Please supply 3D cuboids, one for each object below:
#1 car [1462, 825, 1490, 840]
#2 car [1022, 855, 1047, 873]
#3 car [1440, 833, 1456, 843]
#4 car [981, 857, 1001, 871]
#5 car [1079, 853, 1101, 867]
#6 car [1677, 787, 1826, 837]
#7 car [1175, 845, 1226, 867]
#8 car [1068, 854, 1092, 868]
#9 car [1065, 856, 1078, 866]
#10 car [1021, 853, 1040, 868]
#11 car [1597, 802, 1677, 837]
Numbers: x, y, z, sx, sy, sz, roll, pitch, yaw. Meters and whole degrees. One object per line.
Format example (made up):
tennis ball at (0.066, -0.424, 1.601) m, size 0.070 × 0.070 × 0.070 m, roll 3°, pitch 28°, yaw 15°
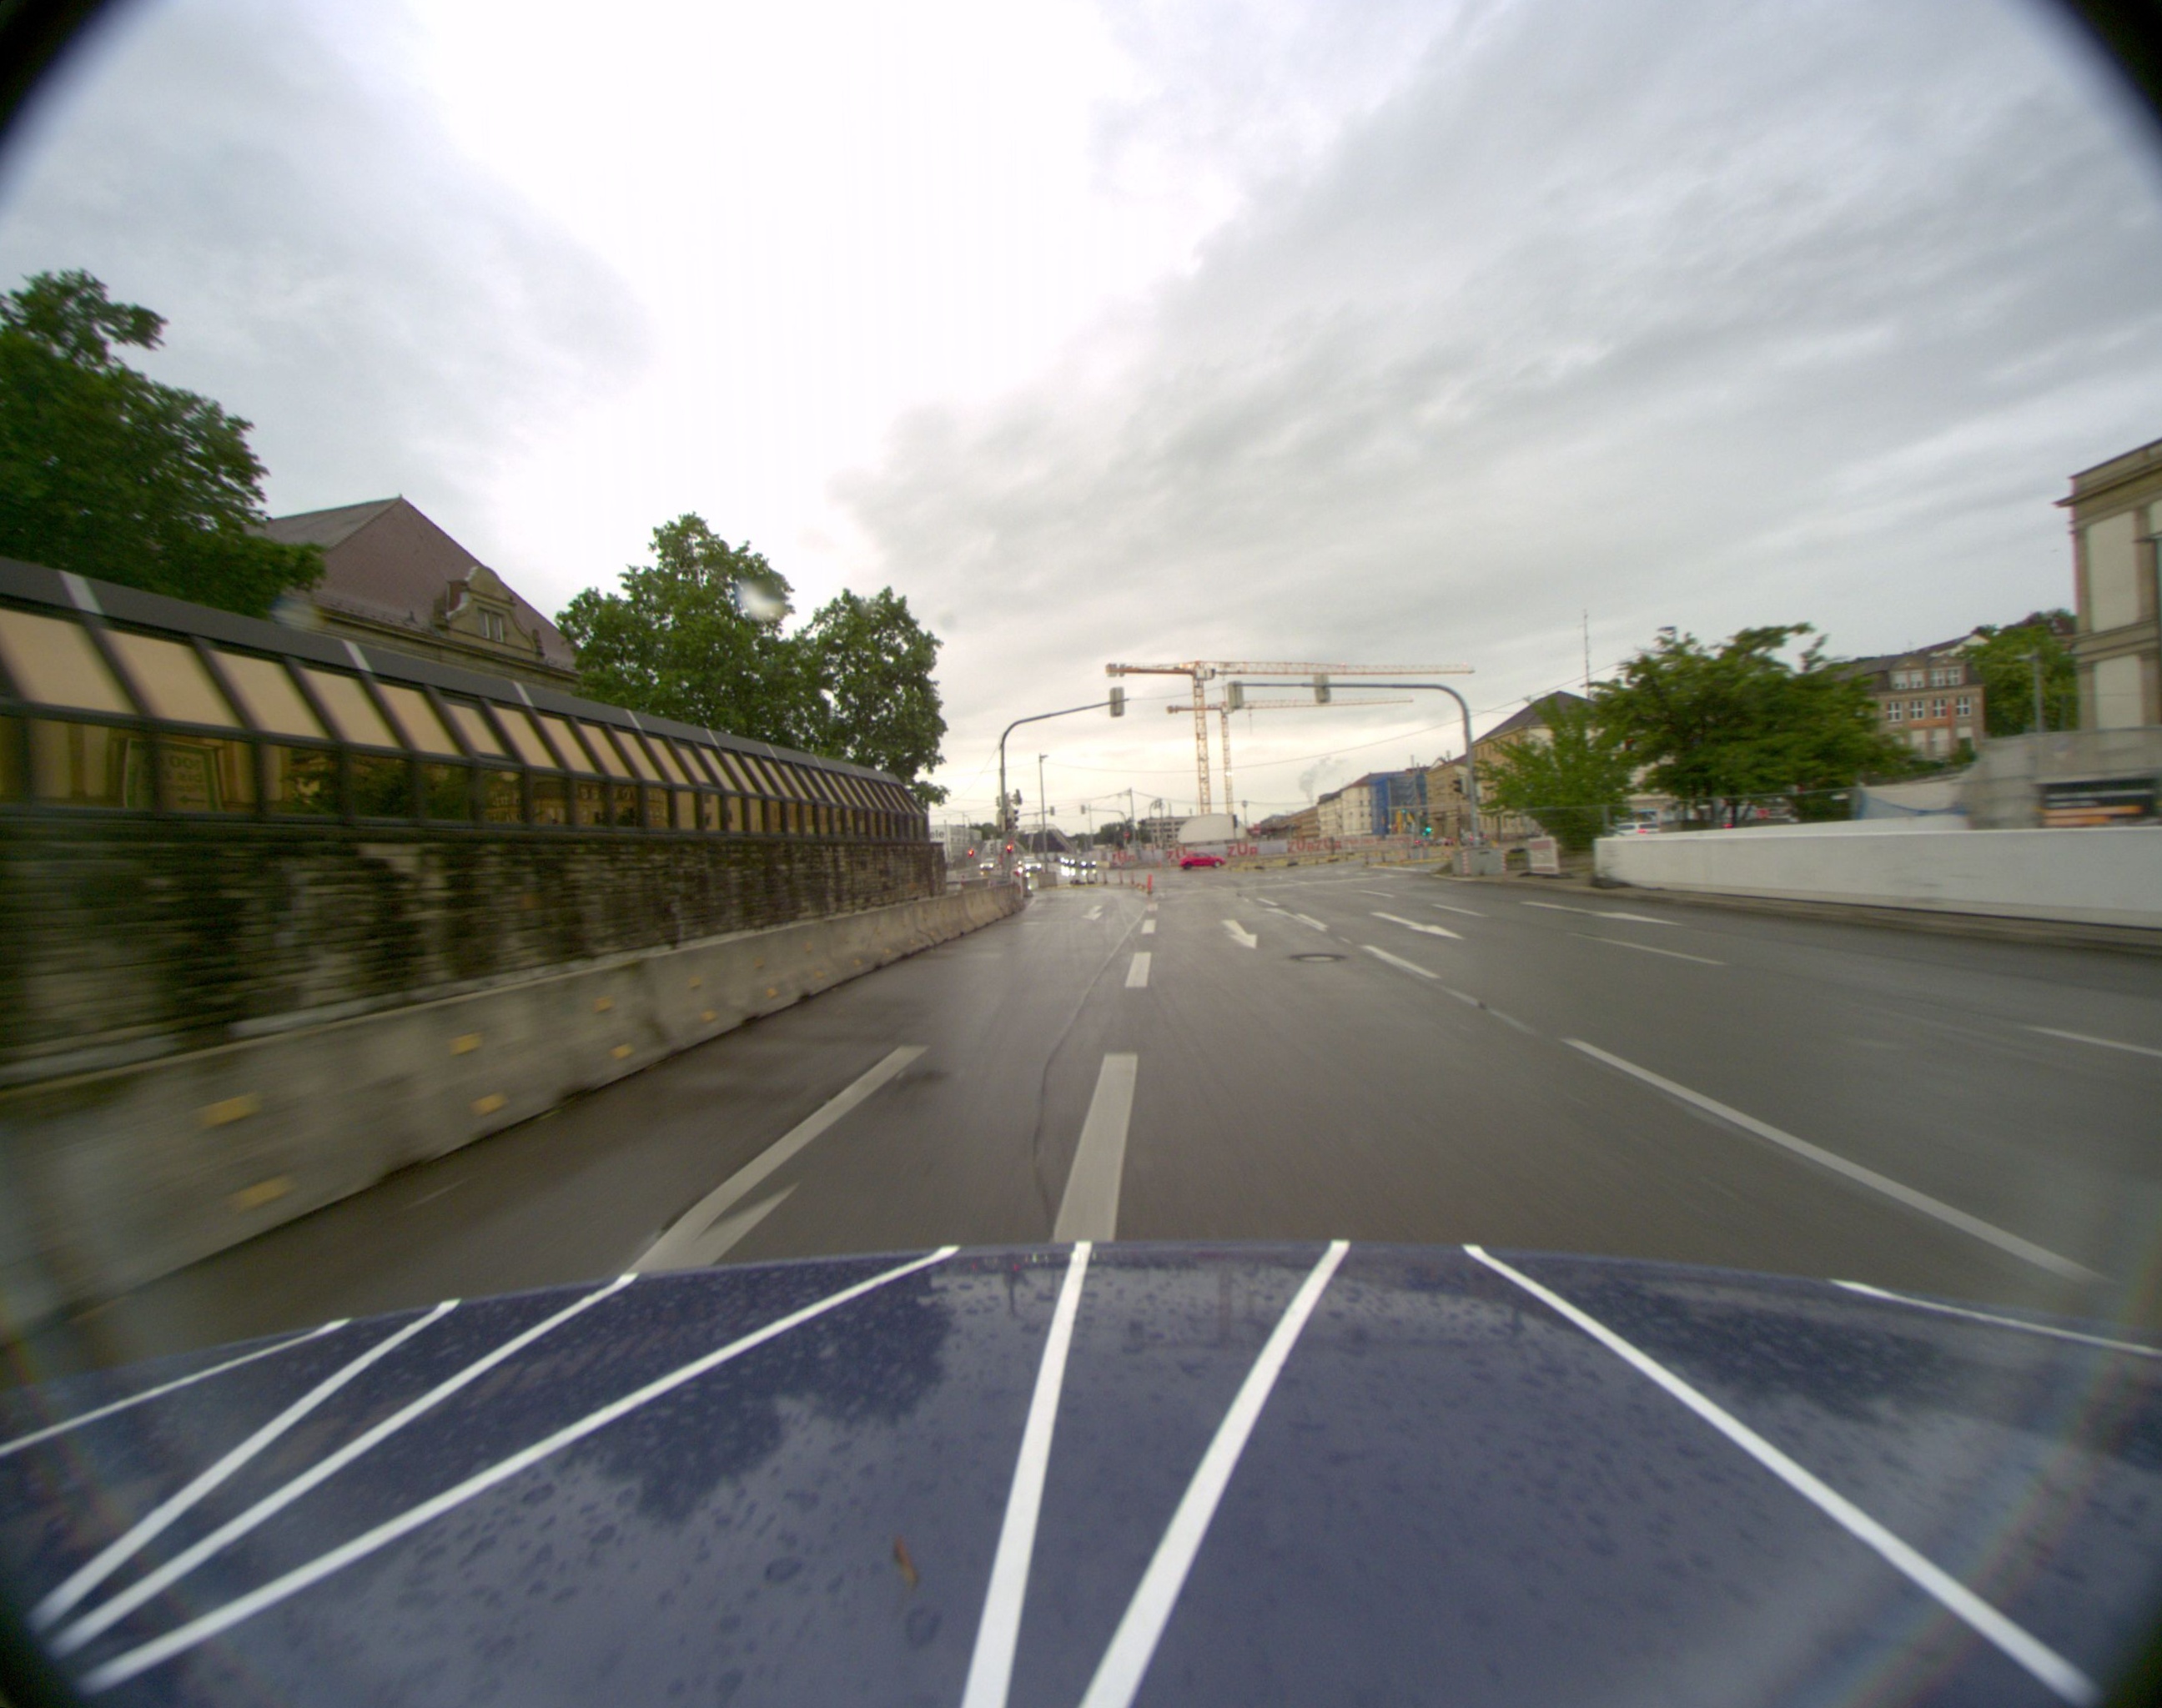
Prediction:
car at (52.744, -2.863, 101.461) m, size 1.997 × 1.828 × 4.686 m, roll -4°, pitch 1°, yaw 12°
car at (-5.736, 1.262, 93.473) m, size 2.001 × 2.002 × 4.418 m, roll -5°, pitch 0°, yaw -15°
car at (58.935, -2.517, 122.115) m, size 1.580 × 1.340 × 3.809 m, roll -5°, pitch 2°, yaw 17°
car at (-12.284, 1.338, 104.105) m, size 1.999 × 1.761 × 4.356 m, roll -5°, pitch 0°, yaw 0°
car at (1.125, 0.800, 94.563) m, size 1.861 × 1.556 × 3.798 m, roll -5°, pitch 0°, yaw -10°
car at (35.214, -2.112, 40.188) m, size 2.371 × 2.161 × 5.678 m, roll -6°, pitch 1°, yaw -7°
car at (10.187, 0.180, 65.025) m, size 3.997 × 1.543 × 1.691 m, roll -5°, pitch 1°, yaw -1°
car at (-0.204, 0.949, 100.149) m, size 2.001 × 1.707 × 4.418 m, roll -5°, pitch 0°, yaw -15°
car at (-1.365, 0.954, 106.205) m, size 1.650 × 1.171 × 4.287 m, roll -4°, pitch 2°, yaw -2°
car at (-6.727, 0.814, 100.603) m, size 2.000 × 1.761 × 4.354 m, roll -5°, pitch 0°, yaw -7°
car at (36.000, -2.180, 49.330) m, size 1.998 × 2.002 × 4.642 m, roll -5°, pitch 1°, yaw 6°
